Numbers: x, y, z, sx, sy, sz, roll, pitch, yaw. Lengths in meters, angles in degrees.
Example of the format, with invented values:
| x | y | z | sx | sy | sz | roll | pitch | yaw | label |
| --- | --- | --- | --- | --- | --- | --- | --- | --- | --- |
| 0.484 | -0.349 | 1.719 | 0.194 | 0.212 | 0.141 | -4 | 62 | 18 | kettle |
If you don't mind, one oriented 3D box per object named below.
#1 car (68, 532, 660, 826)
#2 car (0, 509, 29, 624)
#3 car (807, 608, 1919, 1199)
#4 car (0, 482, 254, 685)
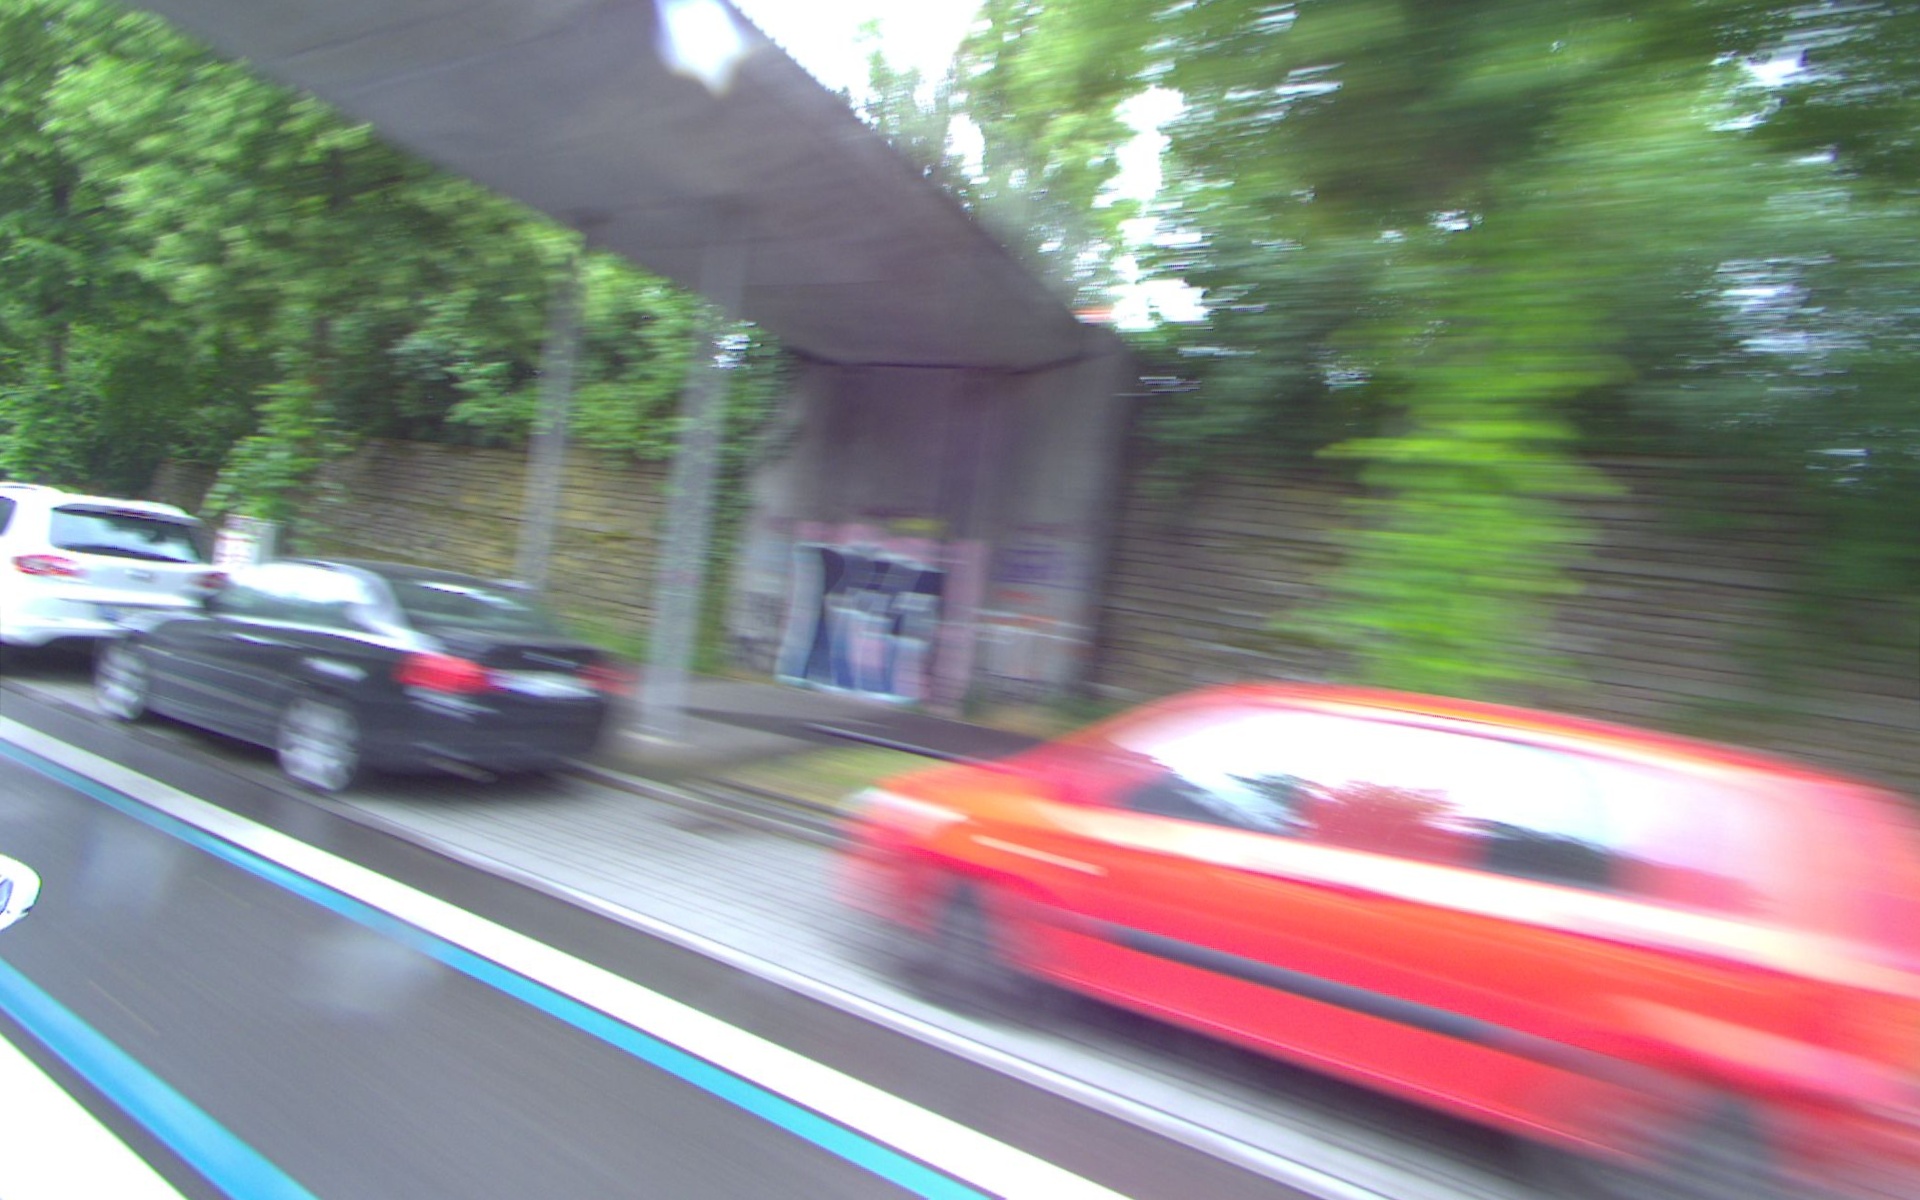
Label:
| x | y | z | sx | sy | sz | roll | pitch | yaw | label |
| --- | --- | --- | --- | --- | --- | --- | --- | --- | --- |
| -4.435 | 0.429 | 7.308 | 4.375 | 1.410 | 1.676 | 5 | -2 | 30 | car |
| -14.014 | -0.617 | 12.899 | 4.482 | 1.392 | 1.722 | 4 | -2 | 30 | car |
| 1.347 | 1.040 | 4.040 | 3.564 | 1.484 | 1.562 | 7 | -1 | 31 | car |
| -9.157 | -0.254 | 10.020 | 4.188 | 1.638 | 1.717 | 6 | -1 | 29 | car |
